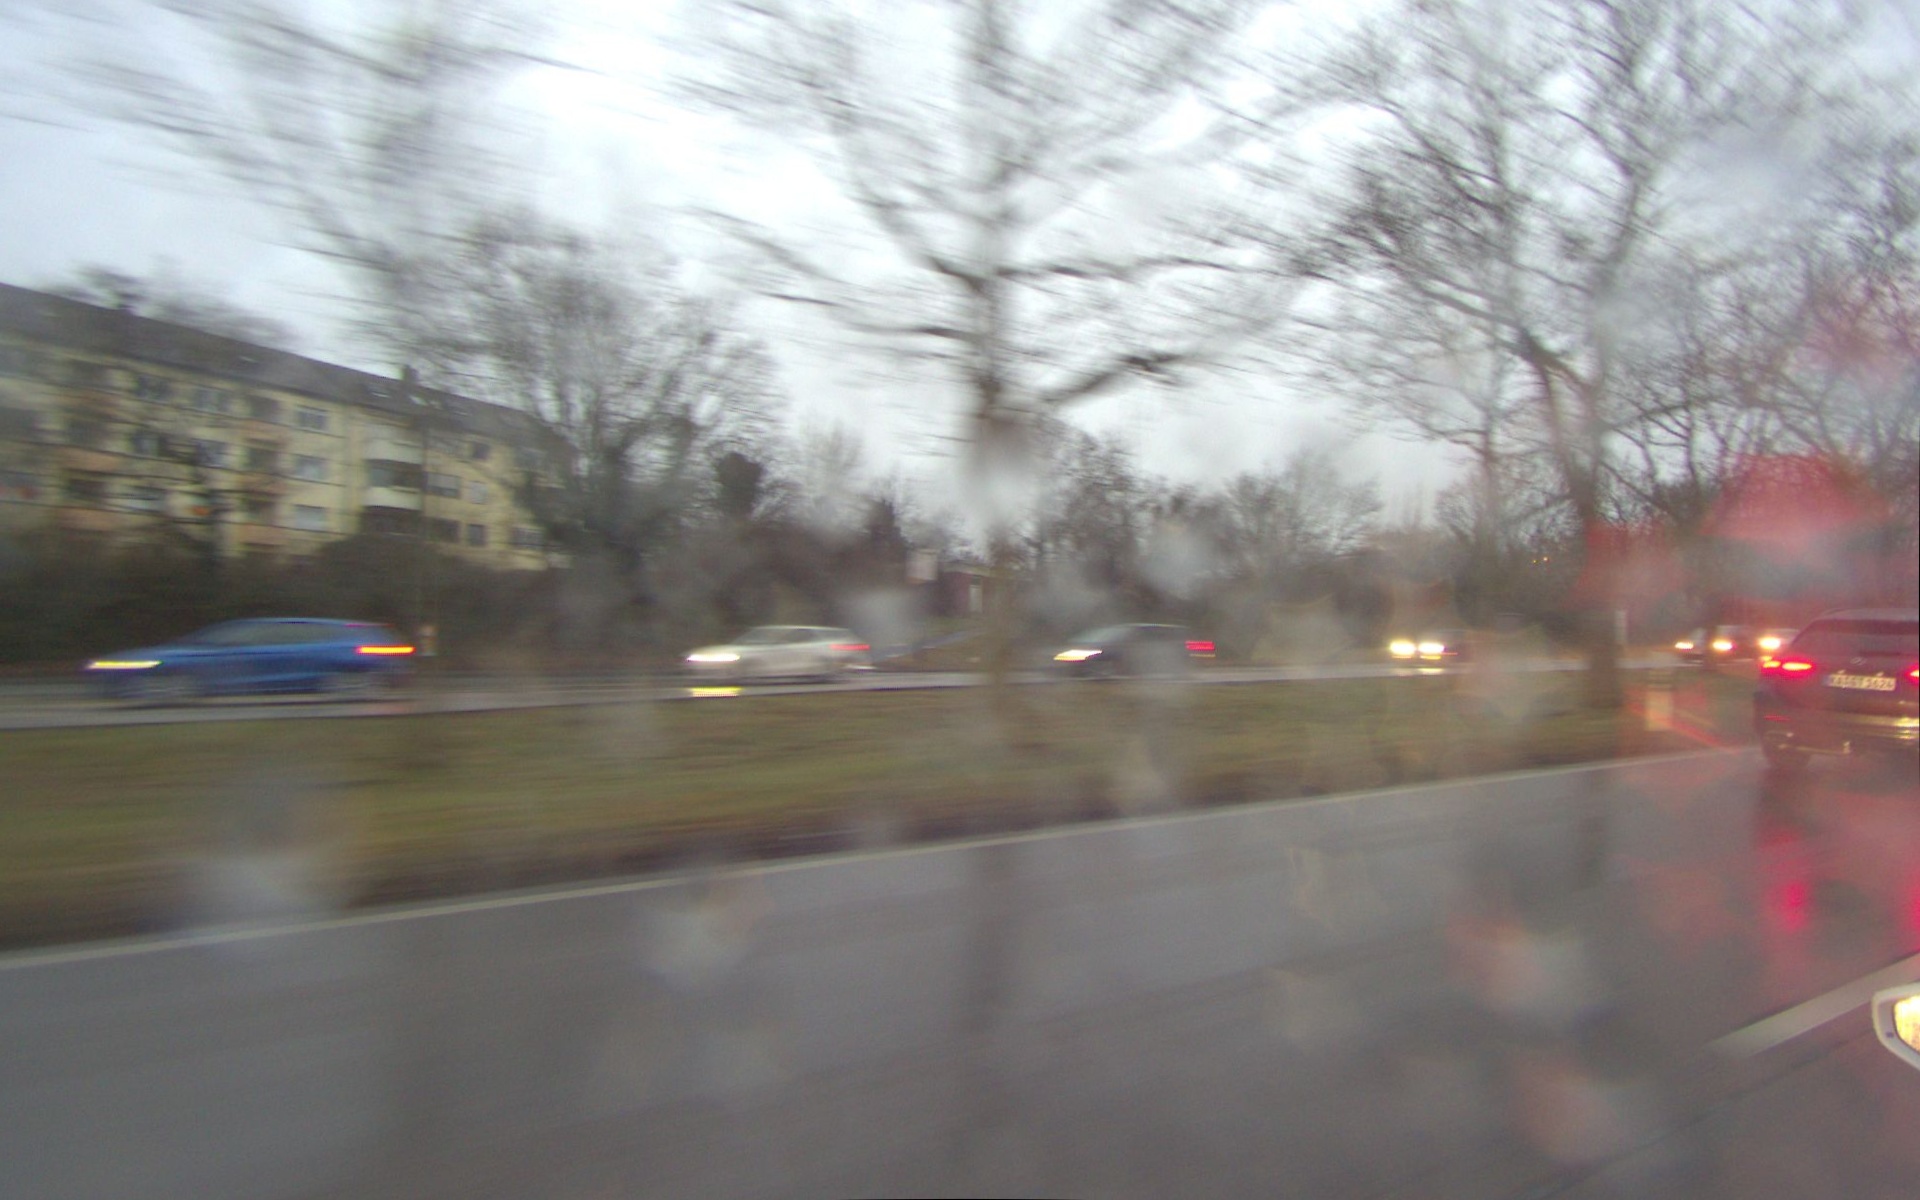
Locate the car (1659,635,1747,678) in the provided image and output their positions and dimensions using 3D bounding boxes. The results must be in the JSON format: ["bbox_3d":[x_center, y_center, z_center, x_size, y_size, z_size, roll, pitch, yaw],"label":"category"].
[{"bbox_3d":[31.238,2.345,42.208,3.934,1.704,1.609,1,-1,-30],"label":"car"}]

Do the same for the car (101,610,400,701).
[{"bbox_3d":[-11.647,0.899,16.849,3.910,1.372,1.641,2,-1,-30],"label":"car"}]

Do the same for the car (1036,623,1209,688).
[{"bbox_3d":[4.248,1.427,26.118,4.327,1.553,1.775,2,-1,-30],"label":"car"}]

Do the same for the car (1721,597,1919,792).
[{"bbox_3d":[9.732,0.848,10.042,4.261,1.623,1.983,1,1,-32],"label":"car"}]

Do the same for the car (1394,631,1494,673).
[{"bbox_3d":[18.551,1.979,38.470,3.747,1.487,1.624,2,-1,-30],"label":"car"}]

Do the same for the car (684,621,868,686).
[{"bbox_3d":[-4.598,1.315,25.215,4.222,1.508,1.710,2,-1,-30],"label":"car"}]
